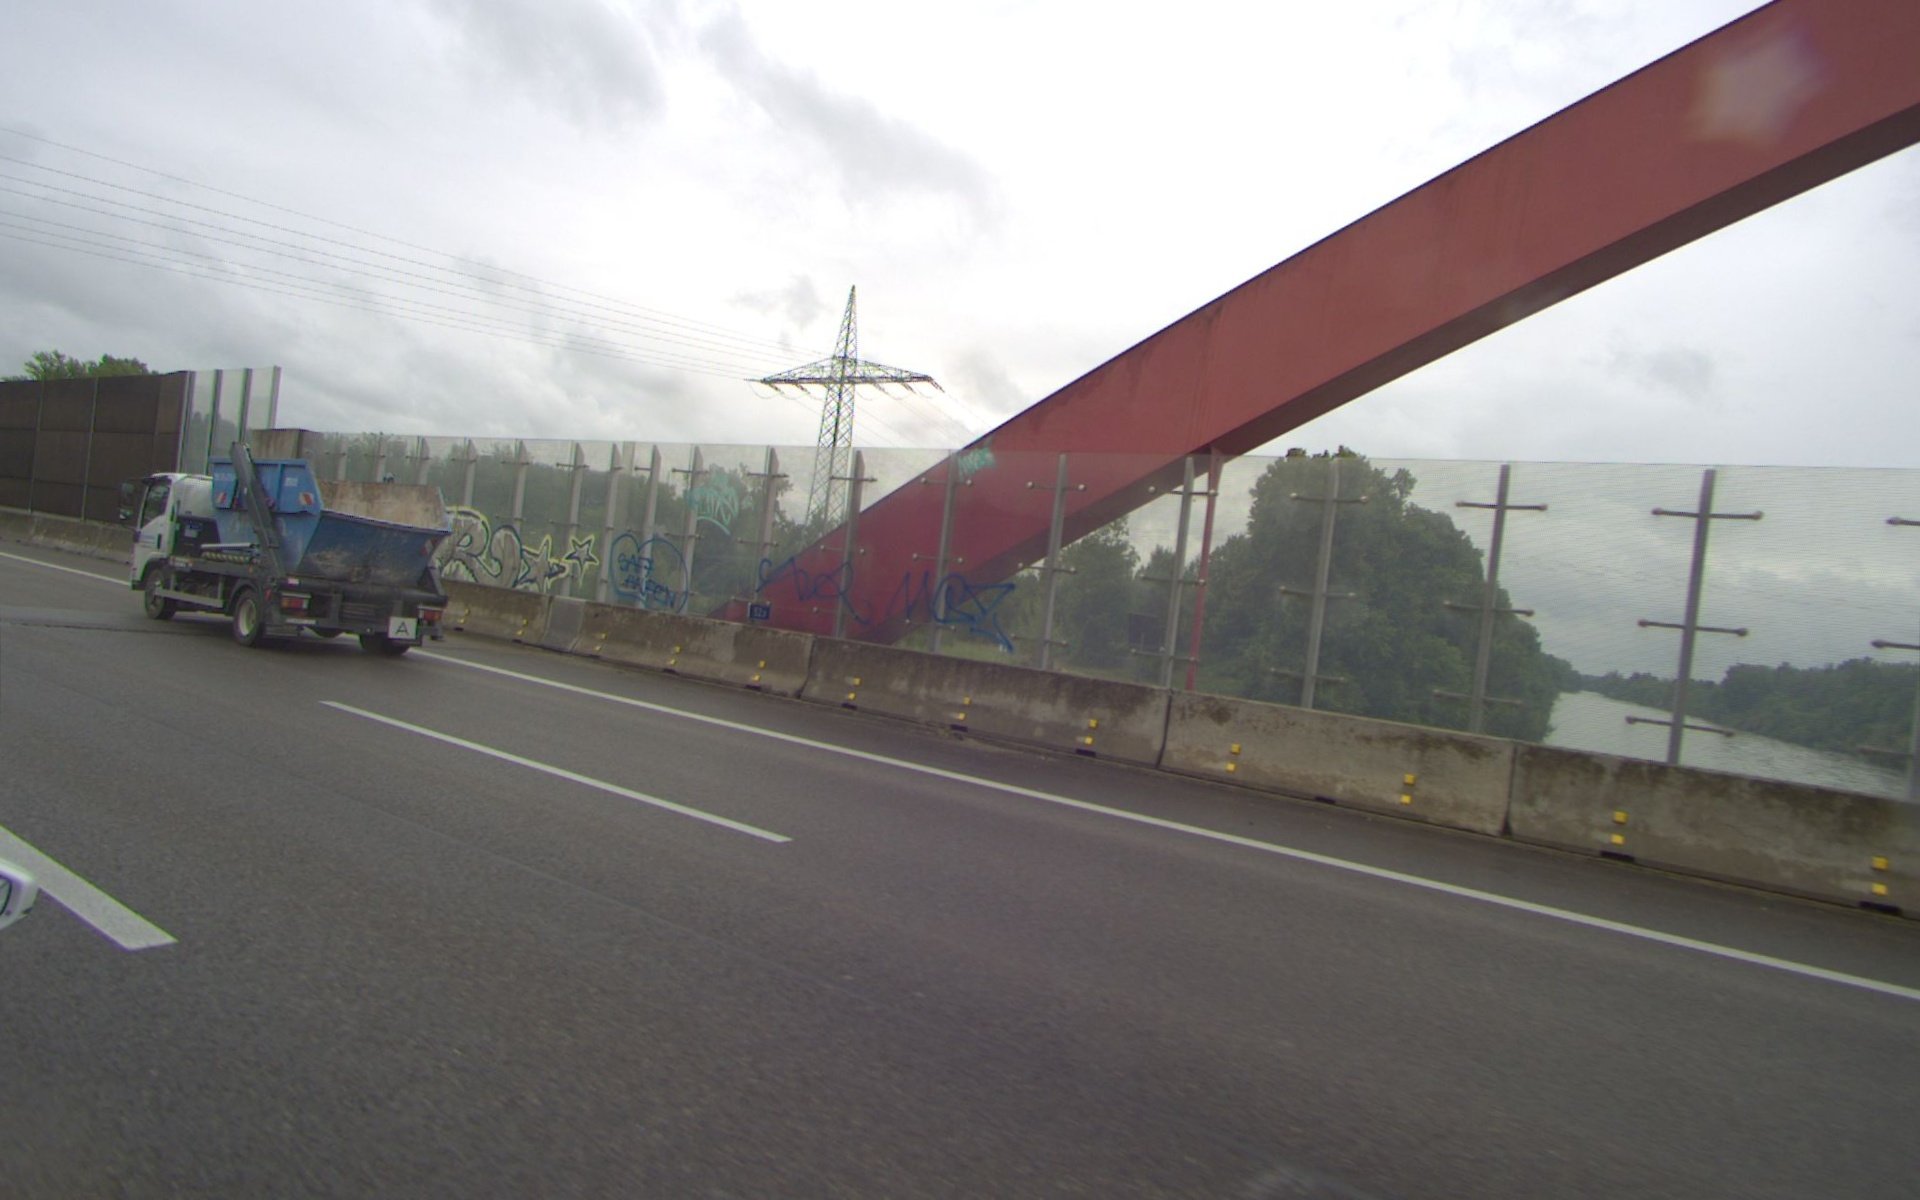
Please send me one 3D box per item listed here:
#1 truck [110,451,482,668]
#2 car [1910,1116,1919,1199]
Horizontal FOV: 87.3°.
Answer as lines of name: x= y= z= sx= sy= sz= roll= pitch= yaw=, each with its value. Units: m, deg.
truck: x=-10.155 y=-0.690 z=15.184 sx=6.045 sy=2.536 sz=2.364 roll=7 pitch=-1 yaw=34
car: x=4.230 y=1.250 z=1.204 sx=4.035 sy=1.689 sz=1.916 roll=7 pitch=-1 yaw=30
